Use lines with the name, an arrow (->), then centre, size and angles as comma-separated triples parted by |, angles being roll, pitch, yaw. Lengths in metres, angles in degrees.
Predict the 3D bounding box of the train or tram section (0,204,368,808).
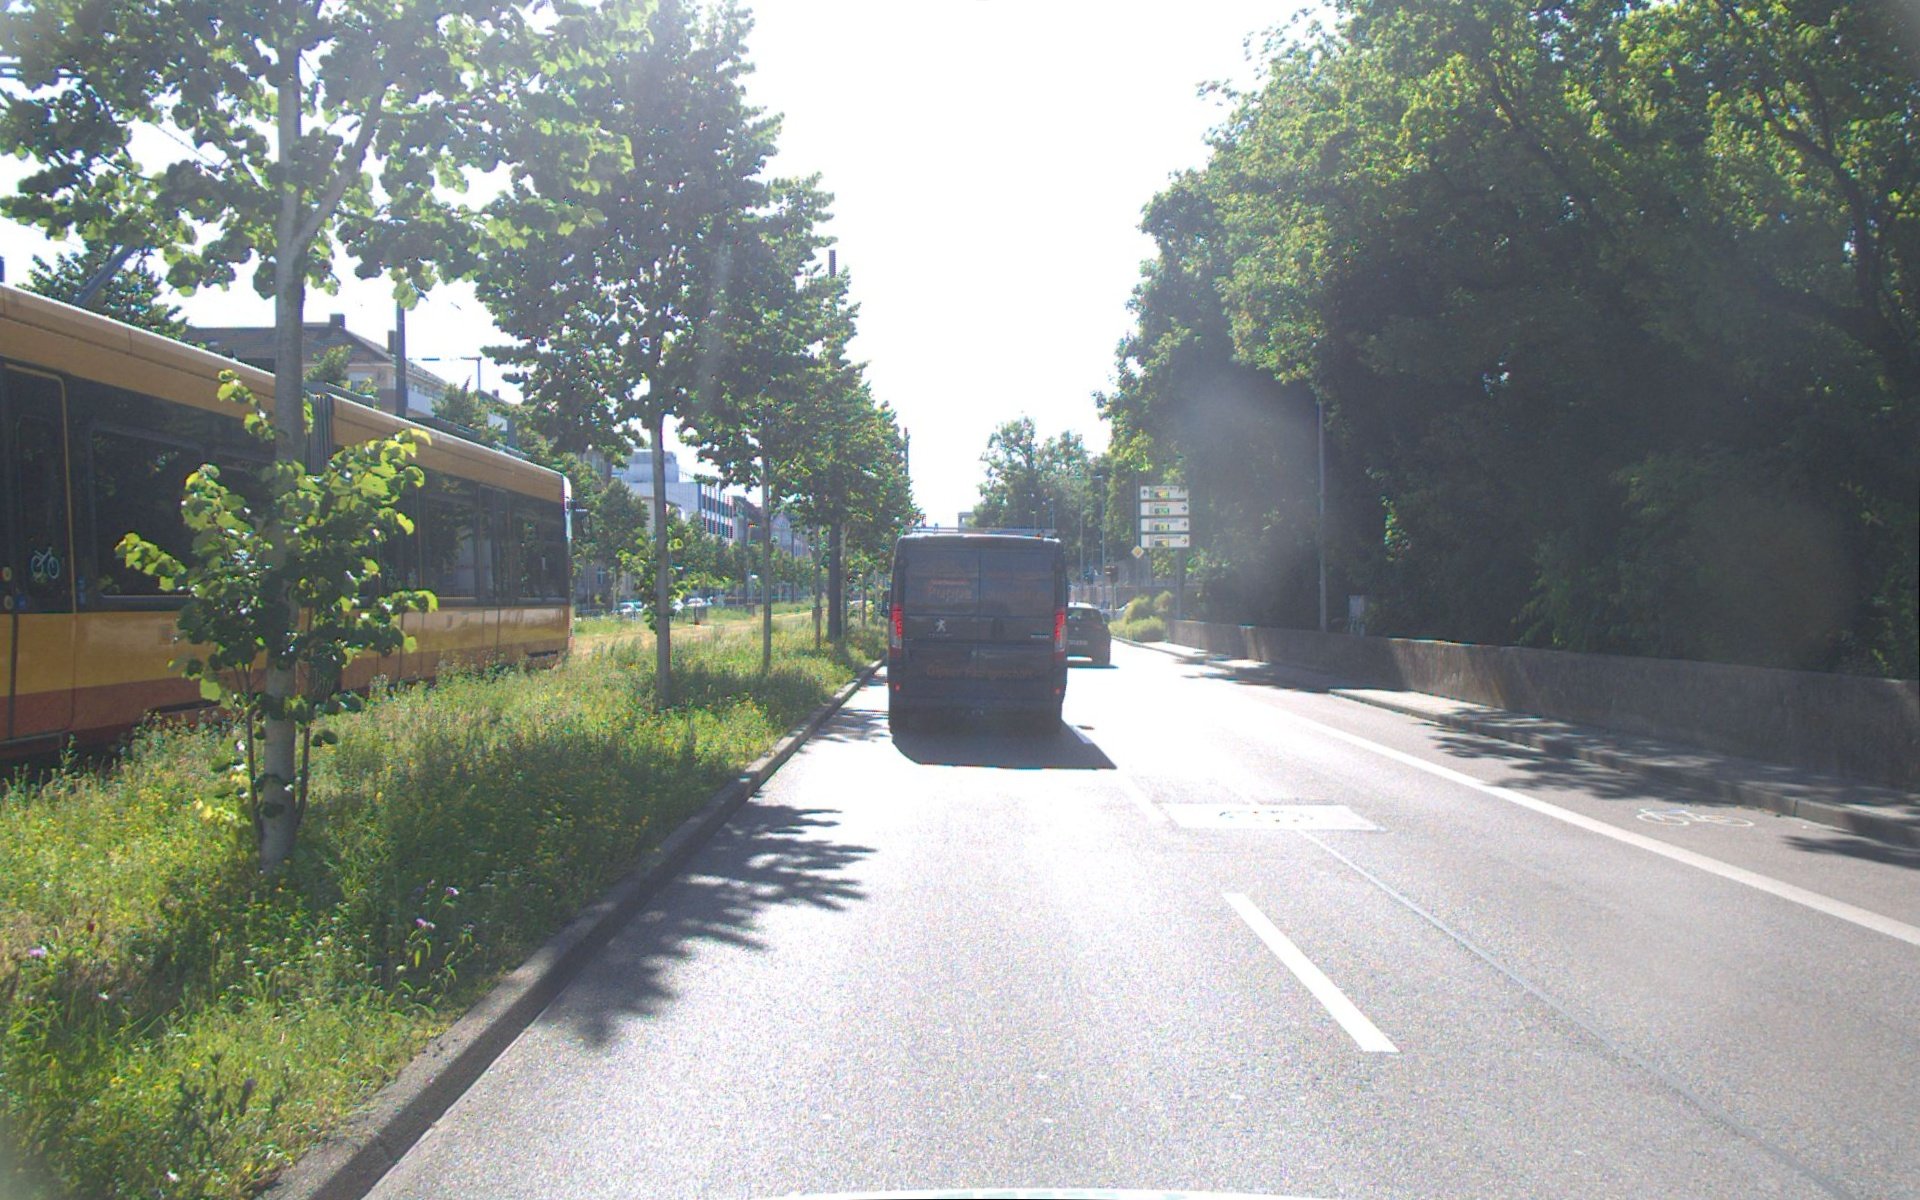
train or tram section -> -6.935, -0.588, 11.192 | 1.953, 3.733, 11.313 | 1, 0, -1

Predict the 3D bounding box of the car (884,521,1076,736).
car -> 0.176, 0.310, 19.795 | 2.040, 2.288, 3.999 | 1, 0, -1

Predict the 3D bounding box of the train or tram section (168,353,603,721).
train or tram section -> -7.103, -0.642, 22.674 | 1.953, 3.733, 11.682 | 1, 0, 0

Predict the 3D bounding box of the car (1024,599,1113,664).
car -> 2.599, 0.718, 40.288 | 1.728, 1.488, 3.998 | 1, 0, -3
